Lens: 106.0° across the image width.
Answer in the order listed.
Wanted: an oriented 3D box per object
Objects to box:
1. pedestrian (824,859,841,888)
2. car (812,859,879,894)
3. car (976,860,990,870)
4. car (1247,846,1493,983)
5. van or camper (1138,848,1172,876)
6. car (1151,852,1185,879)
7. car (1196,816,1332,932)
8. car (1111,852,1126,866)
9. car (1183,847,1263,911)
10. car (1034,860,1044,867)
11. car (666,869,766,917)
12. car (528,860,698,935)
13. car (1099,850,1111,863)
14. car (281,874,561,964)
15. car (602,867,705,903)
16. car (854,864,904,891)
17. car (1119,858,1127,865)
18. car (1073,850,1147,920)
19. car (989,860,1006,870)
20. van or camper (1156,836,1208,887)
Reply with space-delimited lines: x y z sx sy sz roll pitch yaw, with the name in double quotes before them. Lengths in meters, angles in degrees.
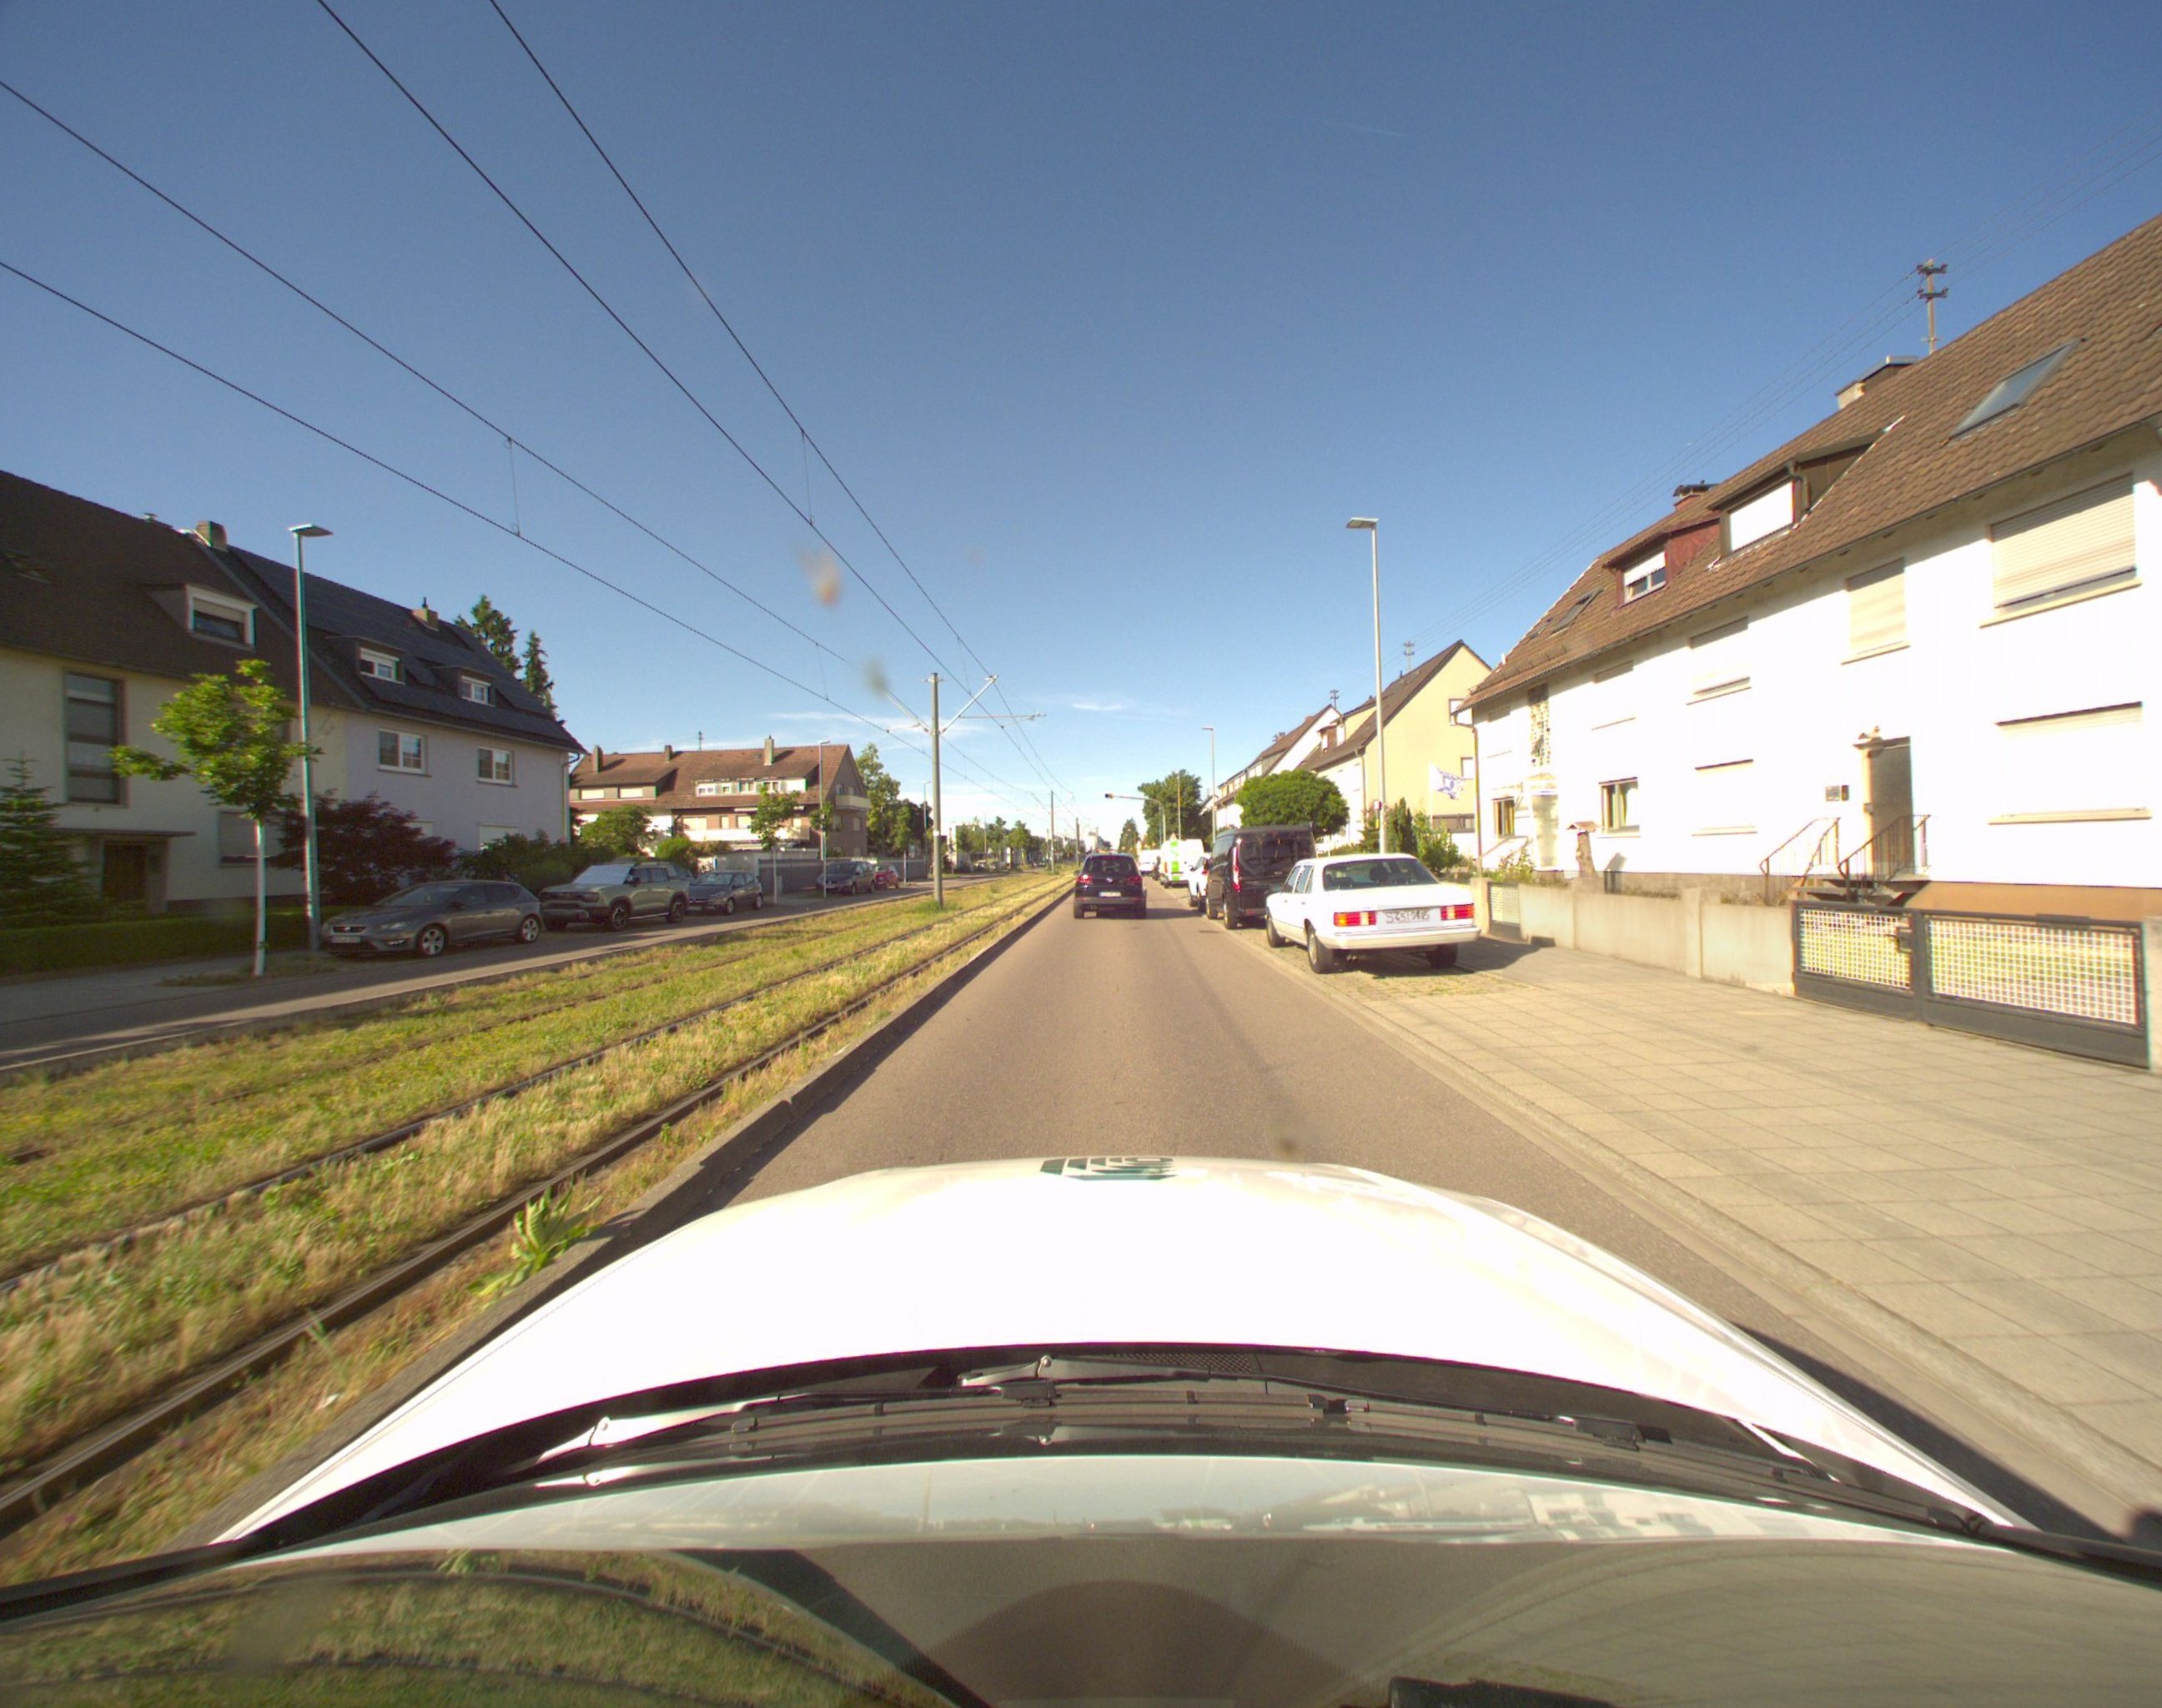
"pedestrian" -14.334 1.128 46.913 0.693 1.640 0.920 0 -1 0
"car" -11.949 1.100 41.669 1.812 1.684 4.849 0 0 3
"car" -13.772 1.552 114.676 1.539 1.491 3.776 0 -1 1
"car" 3.824 0.682 11.984 1.845 1.443 5.618 -4 0 3
"van or camper" 5.637 0.565 61.717 2.015 1.956 5.310 -2 0 10
"car" 5.408 0.707 51.334 1.742 1.494 5.158 -3 -1 2
"car" 3.920 0.405 18.434 1.952 2.144 5.338 -3 0 2
"car" 5.192 0.644 112.877 1.623 1.828 4.127 -2 0 -2
"car" 4.107 0.696 24.151 1.719 1.645 4.320 -3 0 2
"car" -9.767 2.219 190.445 1.681 1.389 4.392 -3 -1 4
"car" -12.598 1.289 28.390 1.671 1.491 4.049 0 0 0
"car" -12.748 1.088 22.630 1.738 1.823 4.844 0 0 2
"car" 5.239 0.509 174.478 2.385 2.564 5.533 -2 0 3
"car" -13.264 1.217 16.849 1.953 1.540 4.559 0 -1 2
"car" -18.920 1.370 36.131 3.596 1.473 1.707 -1 -1 3
"car" -11.735 1.364 47.641 1.688 1.405 4.081 -2 0 3
"car" 10.500 1.806 204.779 1.770 1.670 4.000 -2 0 0
"car" 0.715 0.762 21.596 1.770 1.670 4.000 0 -1 0
"car" -13.067 1.739 127.611 1.801 1.461 4.325 0 -1 7
"van or camper" 4.970 0.359 40.945 1.986 2.271 6.308 -3 -1 2
